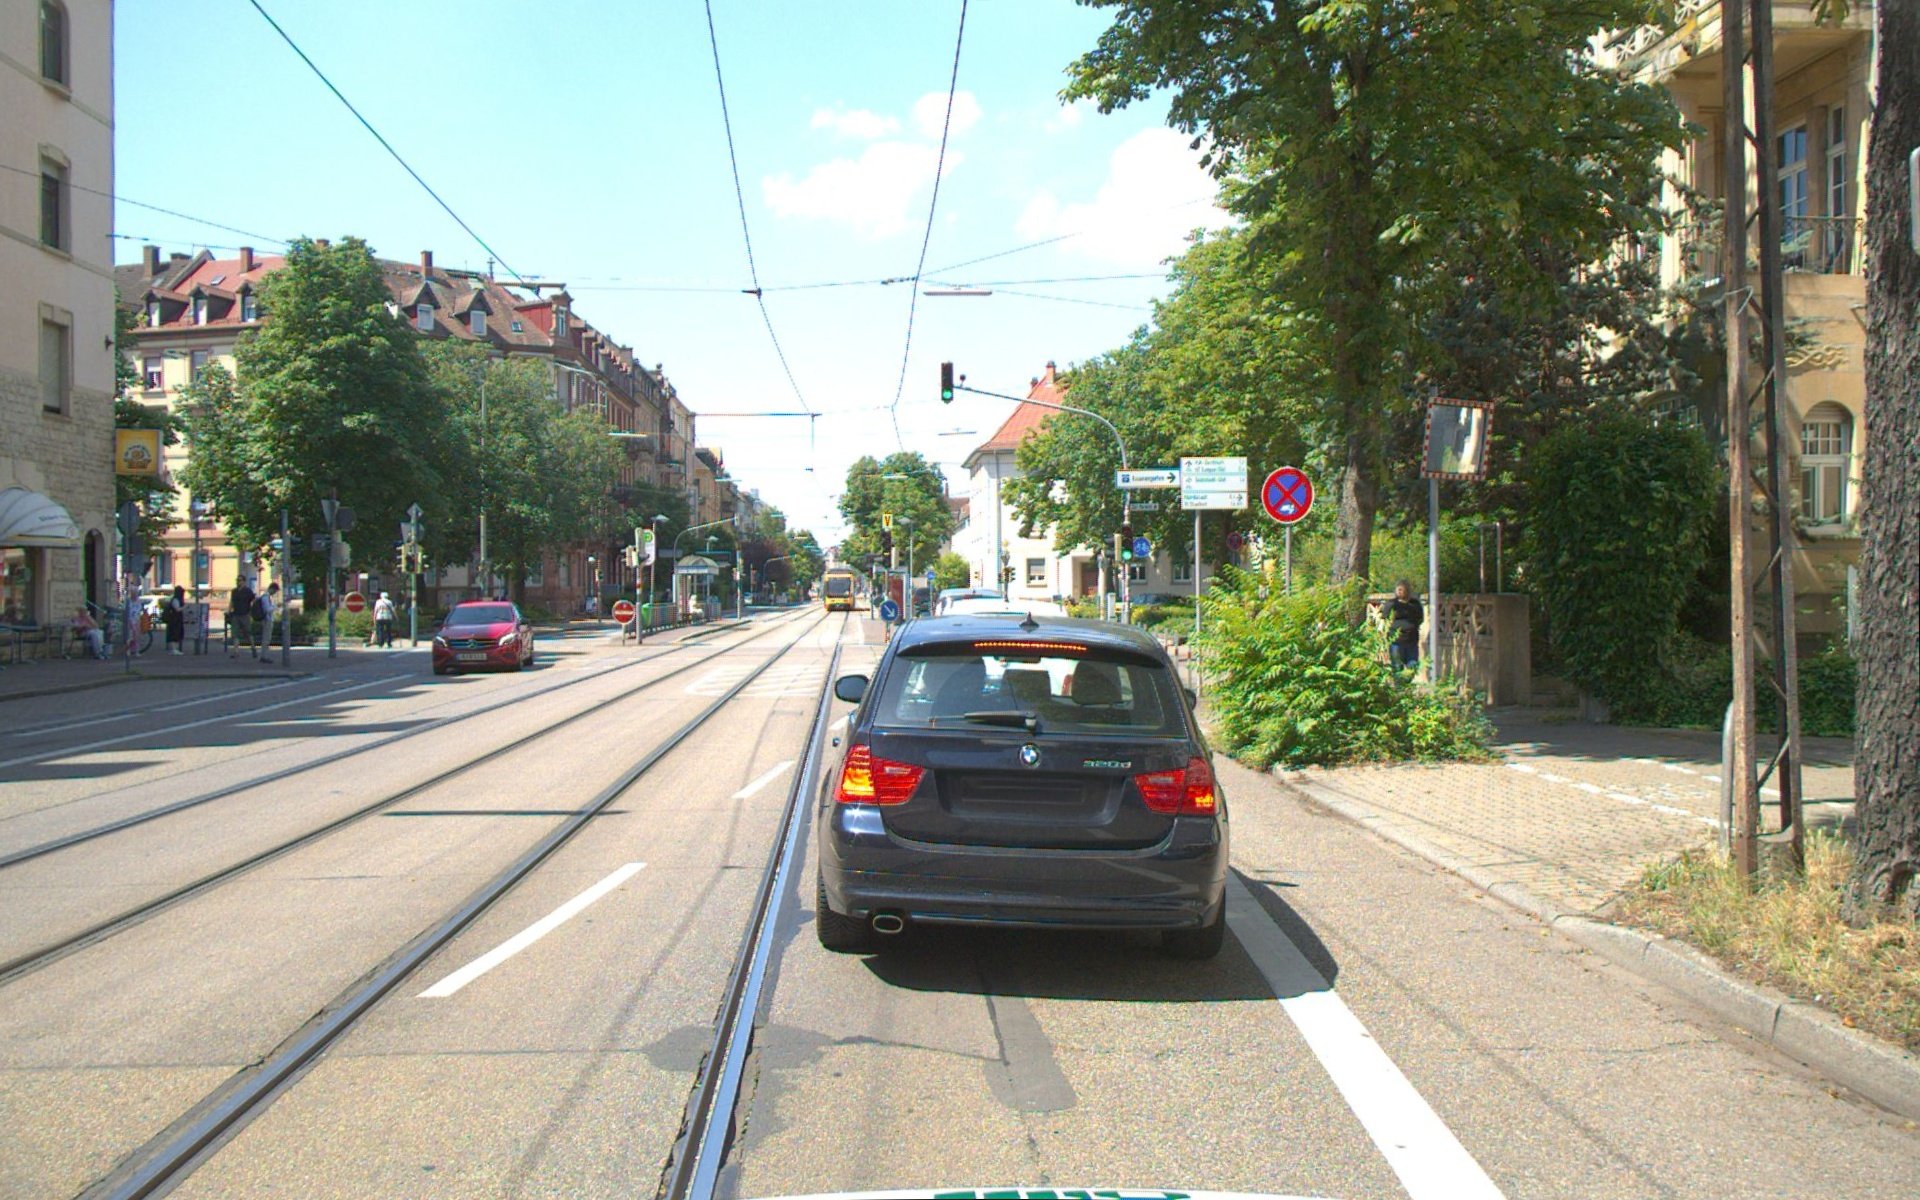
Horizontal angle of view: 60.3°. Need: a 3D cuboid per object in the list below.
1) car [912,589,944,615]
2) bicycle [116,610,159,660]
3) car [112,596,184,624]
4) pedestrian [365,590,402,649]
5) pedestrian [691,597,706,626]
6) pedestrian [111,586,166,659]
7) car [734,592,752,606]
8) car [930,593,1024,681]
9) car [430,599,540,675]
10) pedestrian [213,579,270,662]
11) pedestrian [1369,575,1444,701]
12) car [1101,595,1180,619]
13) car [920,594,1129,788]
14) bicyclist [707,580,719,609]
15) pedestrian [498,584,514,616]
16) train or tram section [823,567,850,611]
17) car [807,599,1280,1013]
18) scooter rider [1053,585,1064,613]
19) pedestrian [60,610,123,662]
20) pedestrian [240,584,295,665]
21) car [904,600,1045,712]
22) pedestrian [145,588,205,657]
[{"bbox_3d":[-2.355,0.150,122.380,1.956,1.881,3.994,0,0,-7],"label":"car"},{"bbox_3d":[-19.520,0.830,39.229,0.539,1.148,1.658,0,-2,-40],"label":"bicycle"},{"bbox_3d":[-44.121,0.544,89.911,3.388,1.497,1.685,0,0,21],"label":"car"},{"bbox_3d":[-17.511,0.587,50.243,0.899,1.753,0.838,0,0,-9],"label":"pedestrian"},{"bbox_3d":[-11.326,0.483,71.614,0.602,1.264,0.626,0,0,-10],"label":"pedestrian"},{"bbox_3d":[-18.666,0.508,37.586,0.901,1.622,0.806,0,0,36],"label":"pedestrian"},{"bbox_3d":[-25.669,-0.110,195.423,1.756,1.614,3.988,1,0,-12],"label":"car"},{"bbox_3d":[0.295,0.647,31.253,1.656,1.540,3.821,1,0,0],"label":"car"},{"bbox_3d":[-10.063,0.733,35.334,1.790,1.438,4.417,-2,0,-11],"label":"car"},{"bbox_3d":[-16.937,0.472,39.019,0.883,1.924,1.163,0,0,-4],"label":"pedestrian"},{"bbox_3d":[6.078,0.506,22.554,0.839,1.674,0.837,-1,0,4],"label":"pedestrian"},{"bbox_3d":[9.692,0.382,89.029,3.914,1.265,1.620,0,0,32],"label":"car"},{"bbox_3d":[0.474,0.718,15.038,1.651,1.510,3.683,0,0,-2],"label":"car"},{"bbox_3d":[-16.275,-0.354,109.101,0.708,1.903,0.824,0,0,-6],"label":"bicyclist"},{"bbox_3d":[-26.464,0.017,96.392,0.734,1.843,0.631,0,0,-42],"label":"pedestrian"},{"bbox_3d":[-10.496,-0.936,141.119,2.147,3.543,8.838,0,0,-4],"label":"train or tram section"},{"bbox_3d":[0.364,0.751,8.330,1.687,1.433,4.565,2,0,1],"label":"car"},{"bbox_3d":[6.002,-0.072,101.120,0.579,1.716,0.527,0,0,-9],"label":"scooter rider"},{"bbox_3d":[-18.706,0.765,35.630,0.897,1.096,0.882,0,0,-3],"label":"pedestrian"},{"bbox_3d":[-15.430,0.543,36.853,0.842,1.763,0.776,1,0,3],"label":"pedestrian"},{"bbox_3d":[0.117,0.681,22.004,1.657,1.346,3.819,0,0,-3],"label":"car"},{"bbox_3d":[-19.022,0.541,40.099,1.001,1.664,0.864,0,0,8],"label":"pedestrian"}]
